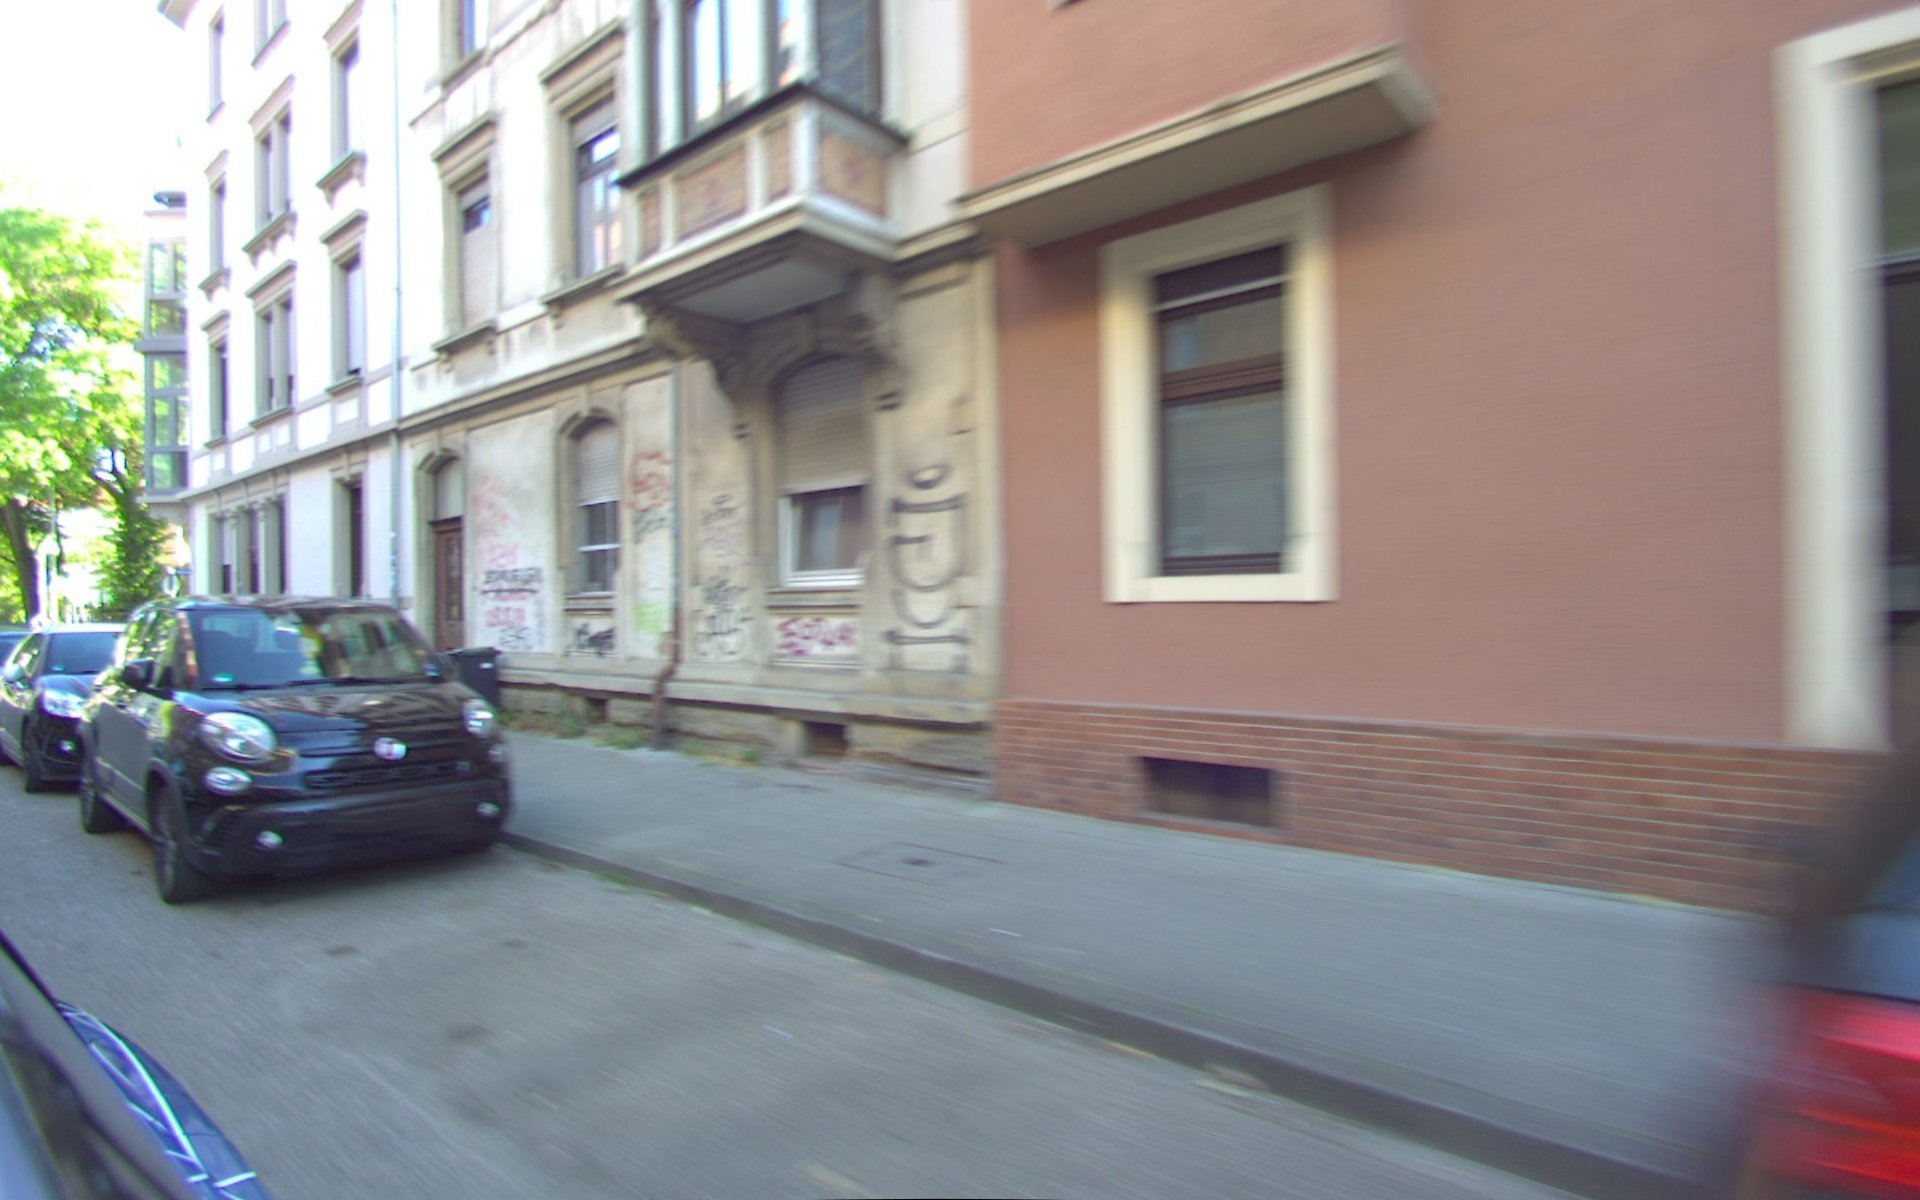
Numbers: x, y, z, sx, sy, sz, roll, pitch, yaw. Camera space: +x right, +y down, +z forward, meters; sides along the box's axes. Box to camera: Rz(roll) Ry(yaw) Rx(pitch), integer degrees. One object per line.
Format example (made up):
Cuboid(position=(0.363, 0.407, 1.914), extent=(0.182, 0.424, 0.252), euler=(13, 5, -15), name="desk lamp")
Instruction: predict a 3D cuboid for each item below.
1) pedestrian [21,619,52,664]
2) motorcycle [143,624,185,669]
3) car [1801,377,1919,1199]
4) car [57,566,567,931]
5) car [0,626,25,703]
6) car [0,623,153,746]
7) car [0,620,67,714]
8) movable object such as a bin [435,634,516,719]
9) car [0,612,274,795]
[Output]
Cuboid(position=(-37.099, 1.661, 40.641), extent=(1.006, 1.759, 0.794), euler=(-2, -2, 41), name="pedestrian")
Cuboid(position=(-22.443, 1.287, 28.558), extent=(0.603, 1.205, 2.050), euler=(0, 0, -29), name="motorcycle")
Cuboid(position=(2.920, 0.575, 0.285), extent=(4.066, 1.618, 1.763), euler=(-2, -1, 40), name="car")
Cuboid(position=(-4.398, 0.710, 6.583), extent=(4.187, 1.630, 1.742), euler=(-2, -2, 42), name="car")
Cuboid(position=(-20.551, 1.309, 20.758), extent=(3.932, 1.494, 1.761), euler=(-2, -1, 43), name="car")
Cuboid(position=(-12.266, 1.033, 13.406), extent=(3.739, 1.414, 1.763), euler=(-2, -1, 40), name="car")
Cuboid(position=(-16.905, 1.125, 17.510), extent=(3.741, 1.494, 1.762), euler=(-2, -1, 42), name="car")
Cuboid(position=(-5.606, 0.867, 11.709), extent=(0.733, 0.927, 0.606), euler=(-1, -1, 41), name="movable object such as a bin")
Cuboid(position=(-8.362, 0.910, 9.981), extent=(3.836, 1.467, 1.626), euler=(-2, -4, 40), name="car")
